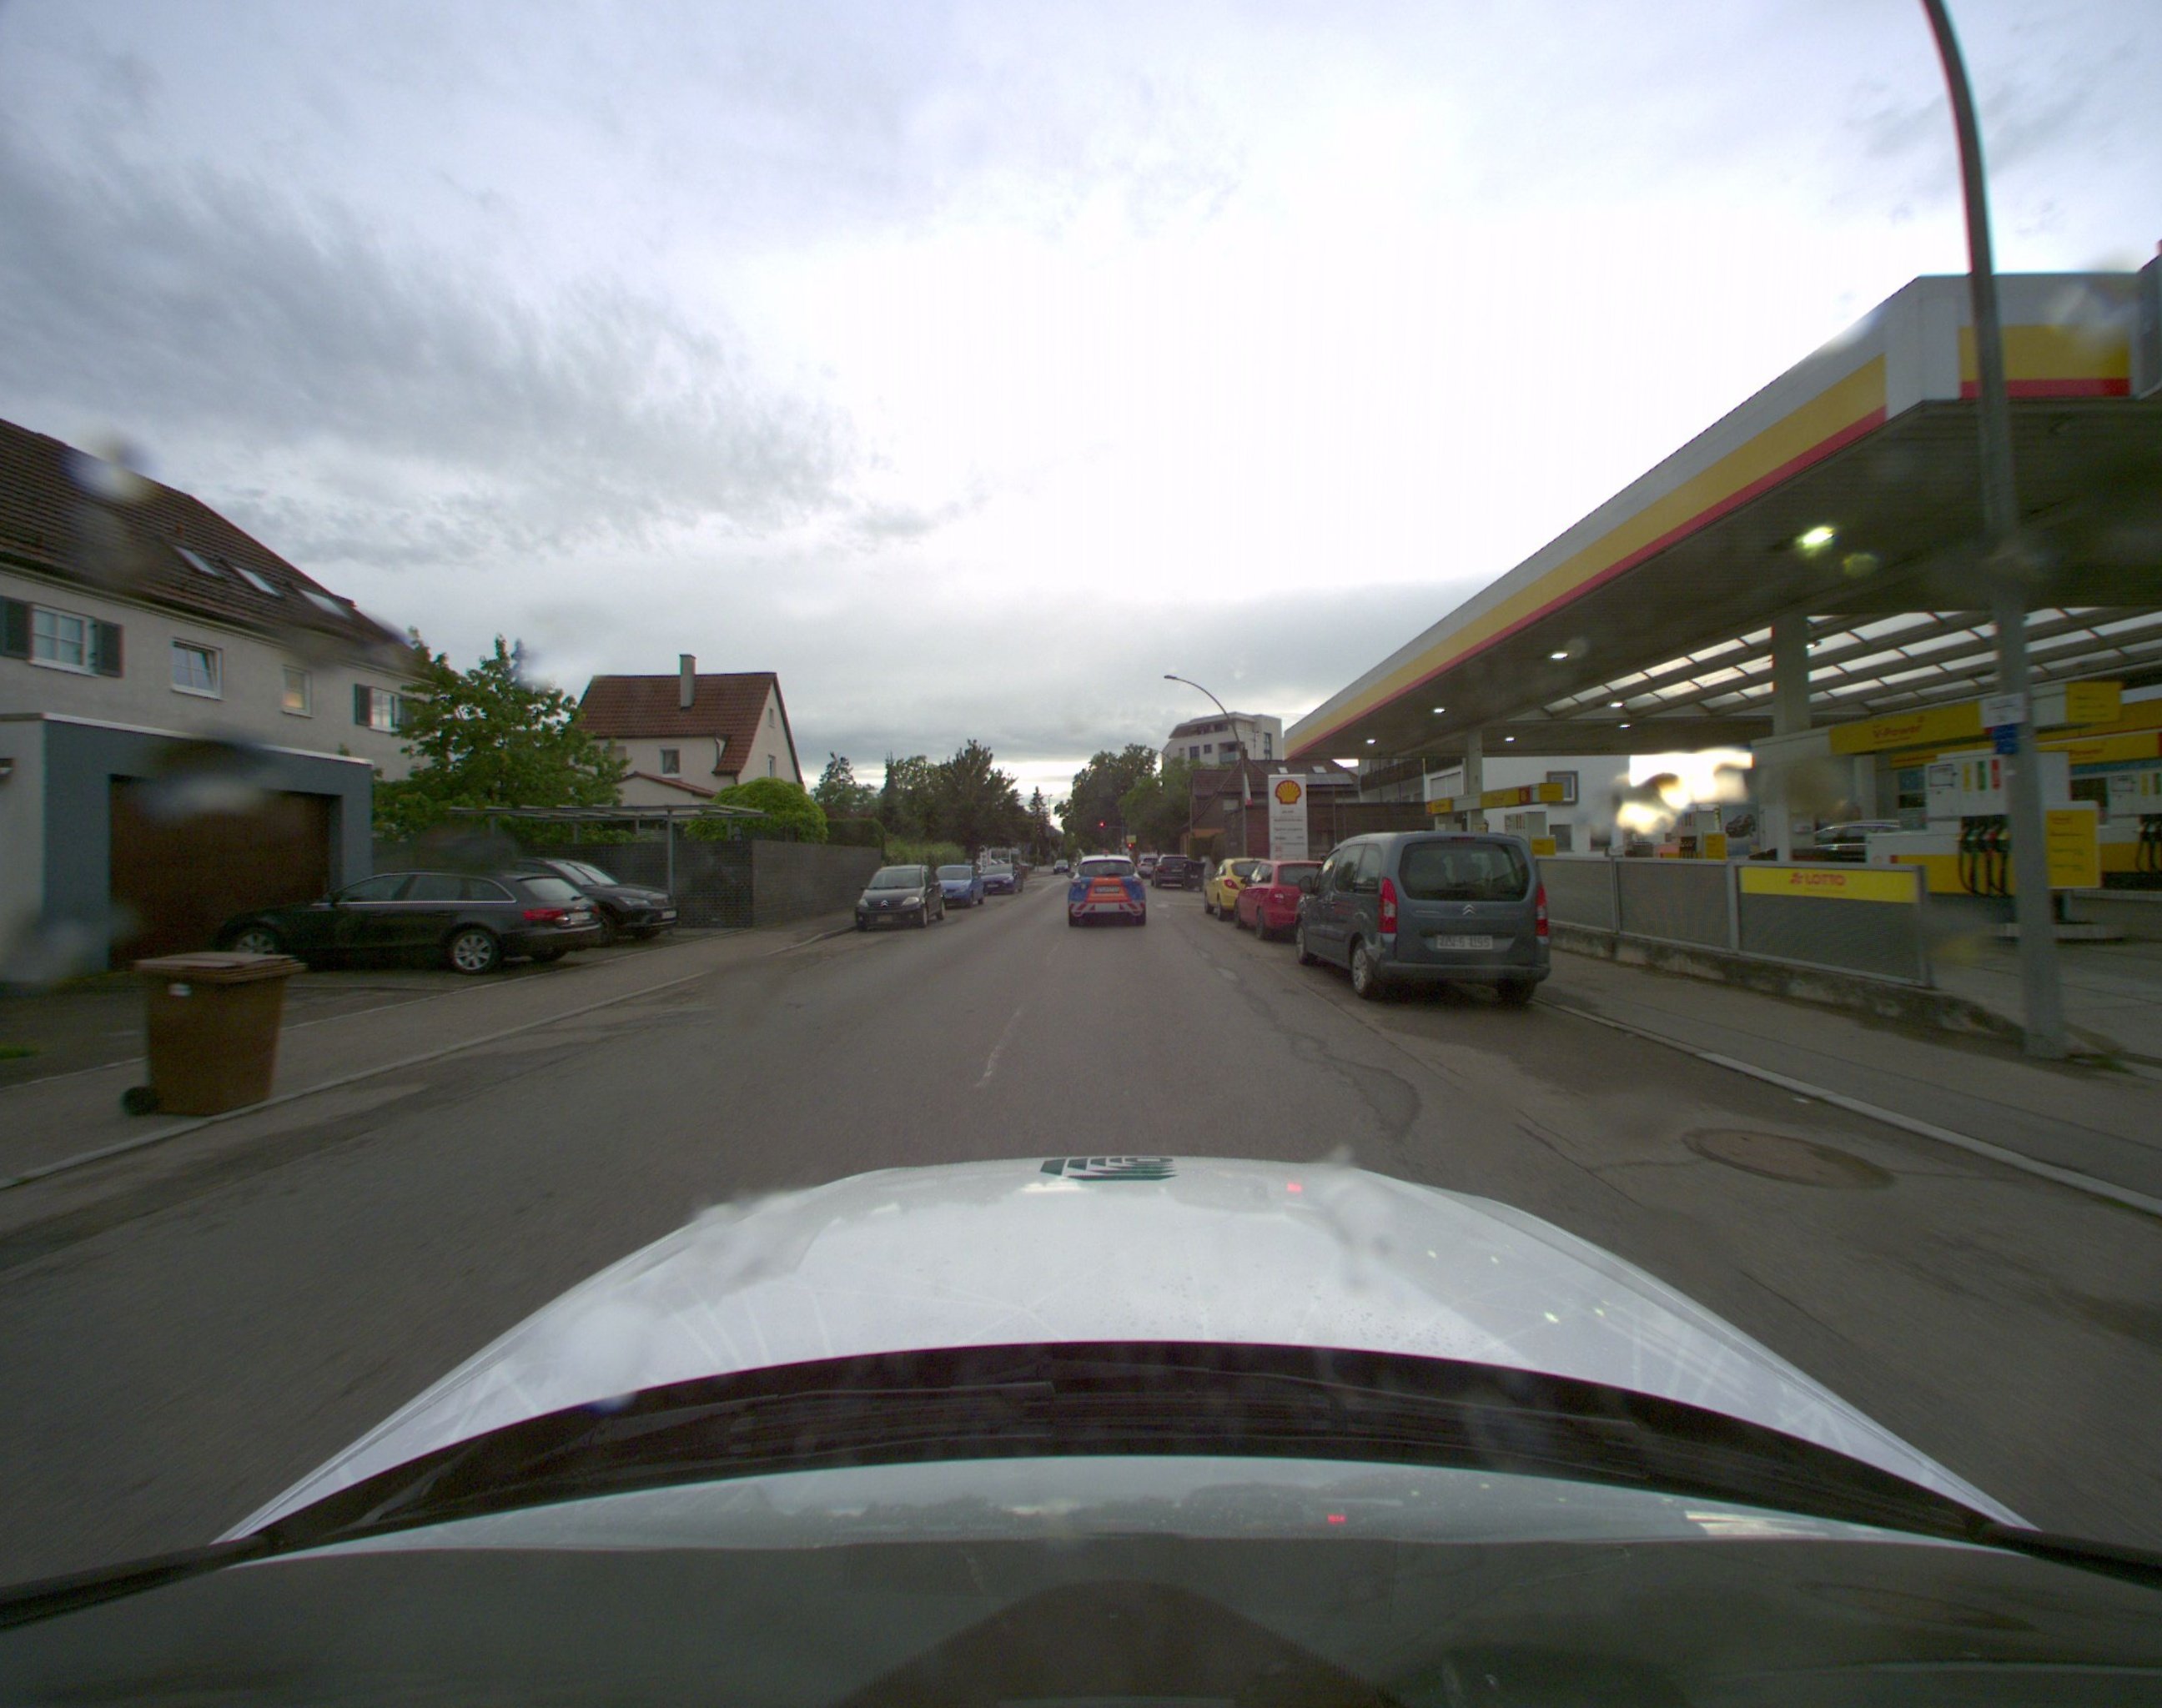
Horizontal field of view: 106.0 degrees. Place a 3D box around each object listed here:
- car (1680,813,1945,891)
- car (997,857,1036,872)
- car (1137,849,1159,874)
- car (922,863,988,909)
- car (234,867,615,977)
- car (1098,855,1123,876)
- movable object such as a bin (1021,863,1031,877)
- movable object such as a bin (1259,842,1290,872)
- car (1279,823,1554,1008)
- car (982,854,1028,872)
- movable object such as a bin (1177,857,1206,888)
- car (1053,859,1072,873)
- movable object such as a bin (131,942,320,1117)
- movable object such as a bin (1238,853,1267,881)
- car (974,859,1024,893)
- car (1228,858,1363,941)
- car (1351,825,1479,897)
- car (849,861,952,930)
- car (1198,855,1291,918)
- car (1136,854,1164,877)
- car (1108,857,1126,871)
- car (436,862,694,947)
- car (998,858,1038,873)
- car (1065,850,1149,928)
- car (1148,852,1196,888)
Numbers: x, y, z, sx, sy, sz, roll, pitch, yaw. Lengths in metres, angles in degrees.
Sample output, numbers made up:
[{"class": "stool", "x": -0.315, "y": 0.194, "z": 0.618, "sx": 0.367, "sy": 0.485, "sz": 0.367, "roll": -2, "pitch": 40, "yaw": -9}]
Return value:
[{"class": "car", "x": 15.790, "y": -0.042, "z": 18.011, "sx": 1.733, "sy": 1.466, "sz": 4.674, "roll": -1, "pitch": 0, "yaw": 1}, {"class": "car", "x": -7.099, "y": 1.152, "z": 89.550, "sx": 3.969, "sy": 1.544, "sz": 1.805, "roll": 0, "pitch": 0, "yaw": 4}, {"class": "car", "x": 5.627, "y": 0.574, "z": 68.803, "sx": 1.770, "sy": 2.029, "sz": 4.759, "roll": 0, "pitch": 1, "yaw": 4}, {"class": "car", "x": -4.334, "y": 1.075, "z": 28.472, "sx": 1.540, "sy": 1.403, "sz": 3.598, "roll": -3, "pitch": 0, "yaw": 2}, {"class": "car", "x": -9.332, "y": 0.924, "z": 11.842, "sx": 4.073, "sy": 1.414, "sz": 1.713, "roll": 0, "pitch": 0, "yaw": -2}, {"class": "car", "x": 2.507, "y": 0.946, "z": 68.598, "sx": 1.985, "sy": 1.574, "sz": 4.004, "roll": 0, "pitch": 1, "yaw": 3}, {"class": "movable object such as a bin", "x": -4.356, "y": 1.277, "z": 64.320, "sx": 0.705, "sy": 1.130, "sz": 0.735, "roll": -1, "pitch": 0, "yaw": 2}, {"class": "movable object such as a bin", "x": 9.122, "y": 0.145, "z": 38.372, "sx": 1.098, "sy": 1.340, "sz": 1.384, "roll": -1, "pitch": 0, "yaw": 0}, {"class": "car", "x": 3.769, "y": 0.593, "z": 10.063, "sx": 1.650, "sy": 1.738, "sz": 4.445, "roll": 1, "pitch": 0, "yaw": 1}, {"class": "car", "x": -7.526, "y": 0.905, "z": 80.942, "sx": 4.330, "sy": 1.690, "sz": 1.960, "roll": -1, "pitch": 0, "yaw": 2}, {"class": "movable object such as a bin", "x": 5.200, "y": 0.862, "z": 38.327, "sx": 1.123, "sy": 1.388, "sz": 1.503, "roll": -1, "pitch": 0, "yaw": 0}, {"class": "car", "x": -1.884, "y": 1.244, "z": 85.067, "sx": 1.619, "sy": 1.433, "sz": 3.687, "roll": -1, "pitch": 0, "yaw": 3}, {"class": "movable object such as a bin", "x": -6.112, "y": 1.225, "z": 5.855, "sx": 0.593, "sy": 1.057, "sz": 0.687, "roll": 3, "pitch": 2, "yaw": 2}, {"class": "movable object such as a bin", "x": 8.452, "y": 0.641, "z": 40.197, "sx": 1.098, "sy": 1.340, "sz": 1.384, "roll": -1, "pitch": 0, "yaw": 0}, {"class": "car", "x": -3.855, "y": 1.014, "z": 38.933, "sx": 1.800, "sy": 1.403, "sz": 3.946, "roll": -3, "pitch": 0, "yaw": 2}, {"class": "car", "x": 3.999, "y": 0.782, "z": 15.827, "sx": 1.650, "sy": 1.376, "sz": 4.026, "roll": -1, "pitch": 0, "yaw": 1}, {"class": "car", "x": 9.076, "y": 0.182, "z": 22.515, "sx": 1.814, "sy": 1.759, "sz": 3.998, "roll": -1, "pitch": 0, "yaw": -1}, {"class": "car", "x": -4.453, "y": 0.977, "z": 20.642, "sx": 1.602, "sy": 1.506, "sz": 3.709, "roll": -3, "pitch": 0, "yaw": 2}, {"class": "car", "x": 4.002, "y": 0.743, "z": 20.451, "sx": 1.650, "sy": 1.402, "sz": 3.802, "roll": -1, "pitch": 0, "yaw": 1}, {"class": "car", "x": 5.302, "y": 0.855, "z": 62.846, "sx": 1.859, "sy": 1.665, "sz": 4.321, "roll": -1, "pitch": 0, "yaw": 1}, {"class": "car", "x": 4.129, "y": 1.154, "z": 93.852, "sx": 1.789, "sy": 1.428, "sz": 3.998, "roll": 0, "pitch": 1, "yaw": -2}, {"class": "car", "x": -9.376, "y": 0.884, "z": 15.038, "sx": 3.577, "sy": 1.457, "sz": 1.755, "roll": 0, "pitch": 0, "yaw": -4}, {"class": "car", "x": -6.657, "y": 1.225, "z": 86.488, "sx": 3.969, "sy": 1.544, "sz": 1.805, "roll": 0, "pitch": 0, "yaw": 4}, {"class": "car", "x": 0.606, "y": 0.729, "z": 19.238, "sx": 1.739, "sy": 1.581, "sz": 4.002, "roll": -2, "pitch": 0, "yaw": 2}, {"class": "car", "x": 4.598, "y": 0.769, "z": 41.835, "sx": 2.083, "sy": 1.662, "sz": 4.561, "roll": 0, "pitch": 1, "yaw": 2}]
